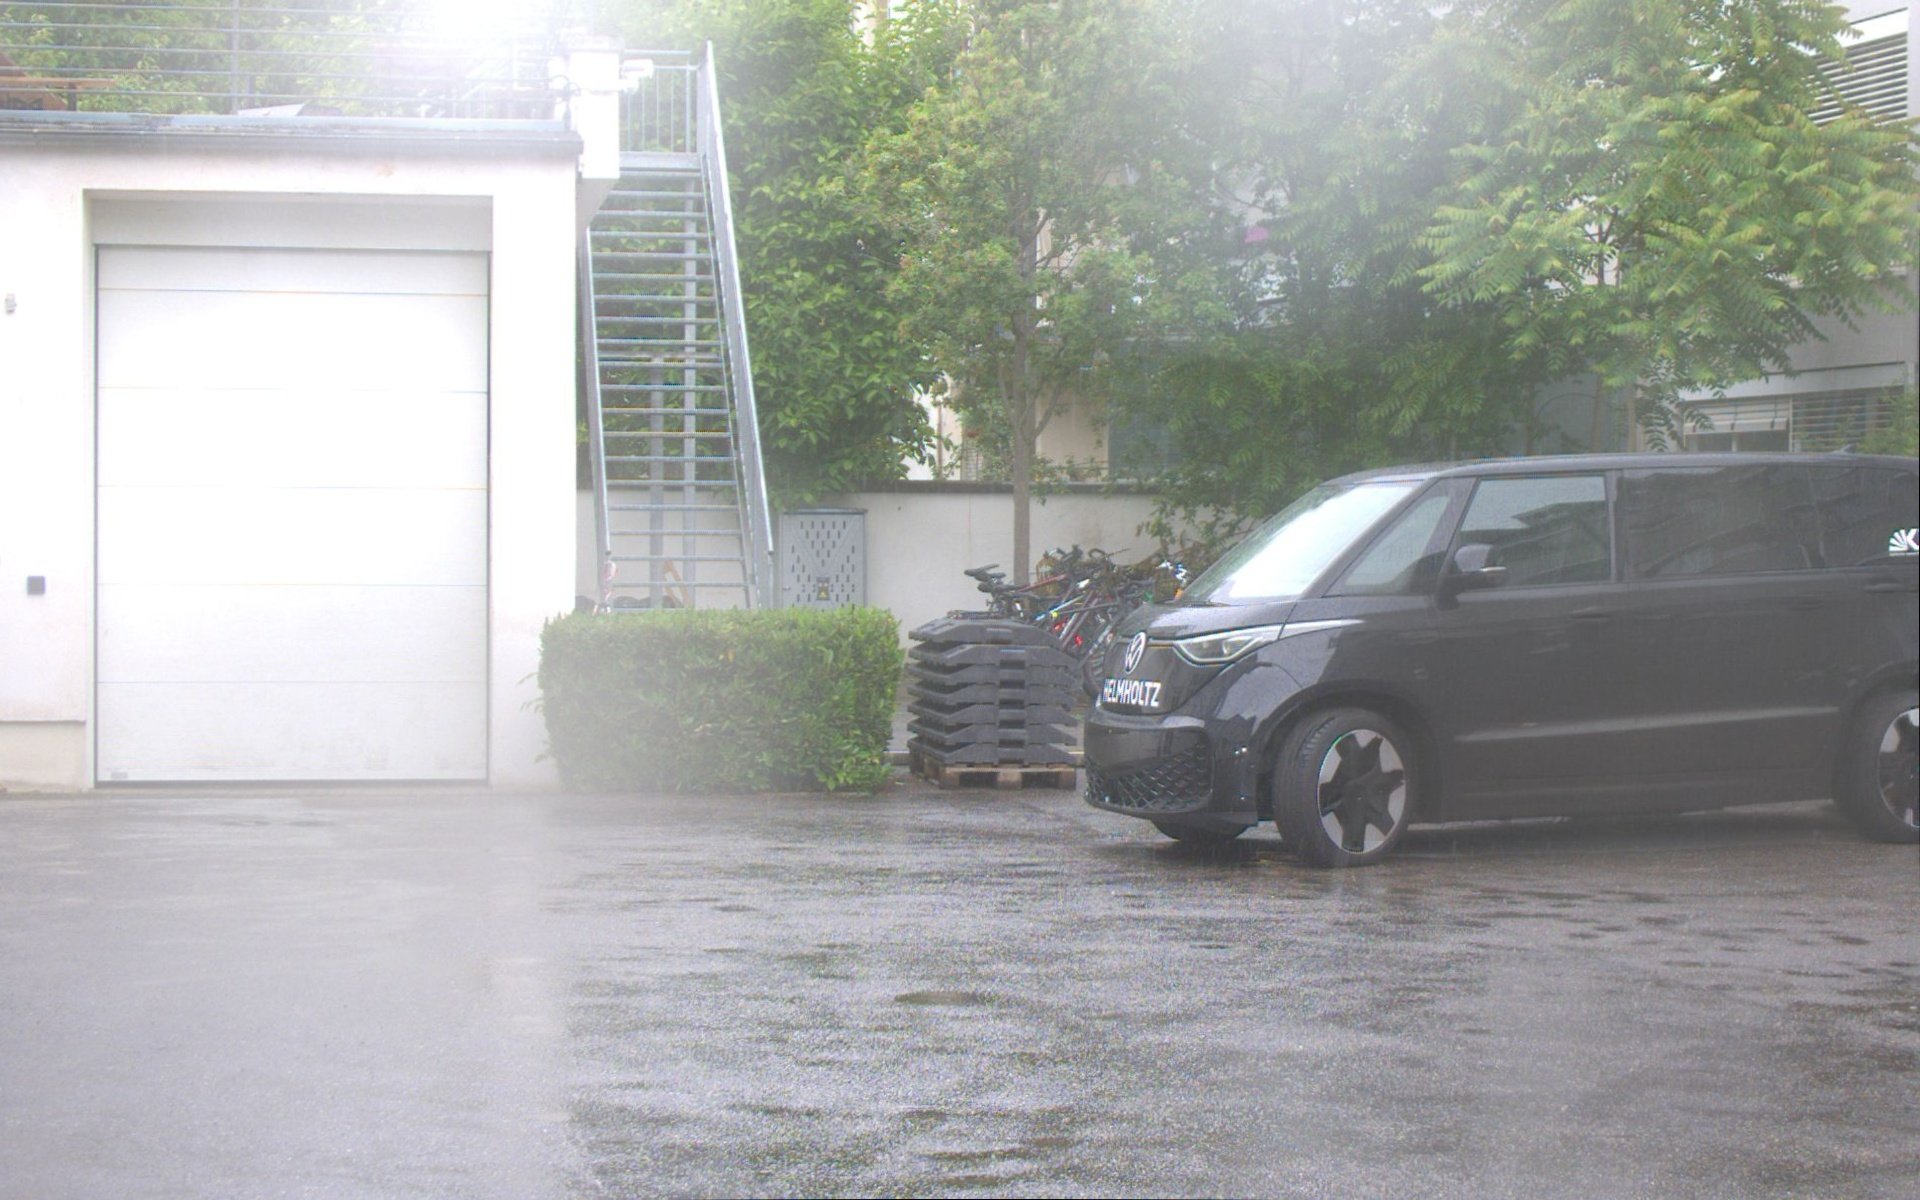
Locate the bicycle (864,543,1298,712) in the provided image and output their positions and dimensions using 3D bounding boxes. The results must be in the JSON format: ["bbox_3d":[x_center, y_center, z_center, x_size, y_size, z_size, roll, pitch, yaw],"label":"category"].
[{"bbox_3d":[0.914,0.195,25.892,3.213,1.237,0.631,0,0,-12],"label":"bicycle"}]

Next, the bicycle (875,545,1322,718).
[{"bbox_3d":[1.017,0.219,25.199,3.213,1.237,0.631,0,0,-12],"label":"bicycle"}]

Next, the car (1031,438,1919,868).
[{"bbox_3d":[2.808,0.212,16.770,4.506,1.891,2.047,0,1,-17],"label":"car"}]

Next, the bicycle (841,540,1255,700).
[{"bbox_3d":[0.698,0.147,27.200,3.213,1.237,0.631,0,0,-12],"label":"bicycle"}]

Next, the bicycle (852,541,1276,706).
[{"bbox_3d":[0.807,0.170,26.556,3.213,1.237,0.631,0,0,-12],"label":"bicycle"}]
